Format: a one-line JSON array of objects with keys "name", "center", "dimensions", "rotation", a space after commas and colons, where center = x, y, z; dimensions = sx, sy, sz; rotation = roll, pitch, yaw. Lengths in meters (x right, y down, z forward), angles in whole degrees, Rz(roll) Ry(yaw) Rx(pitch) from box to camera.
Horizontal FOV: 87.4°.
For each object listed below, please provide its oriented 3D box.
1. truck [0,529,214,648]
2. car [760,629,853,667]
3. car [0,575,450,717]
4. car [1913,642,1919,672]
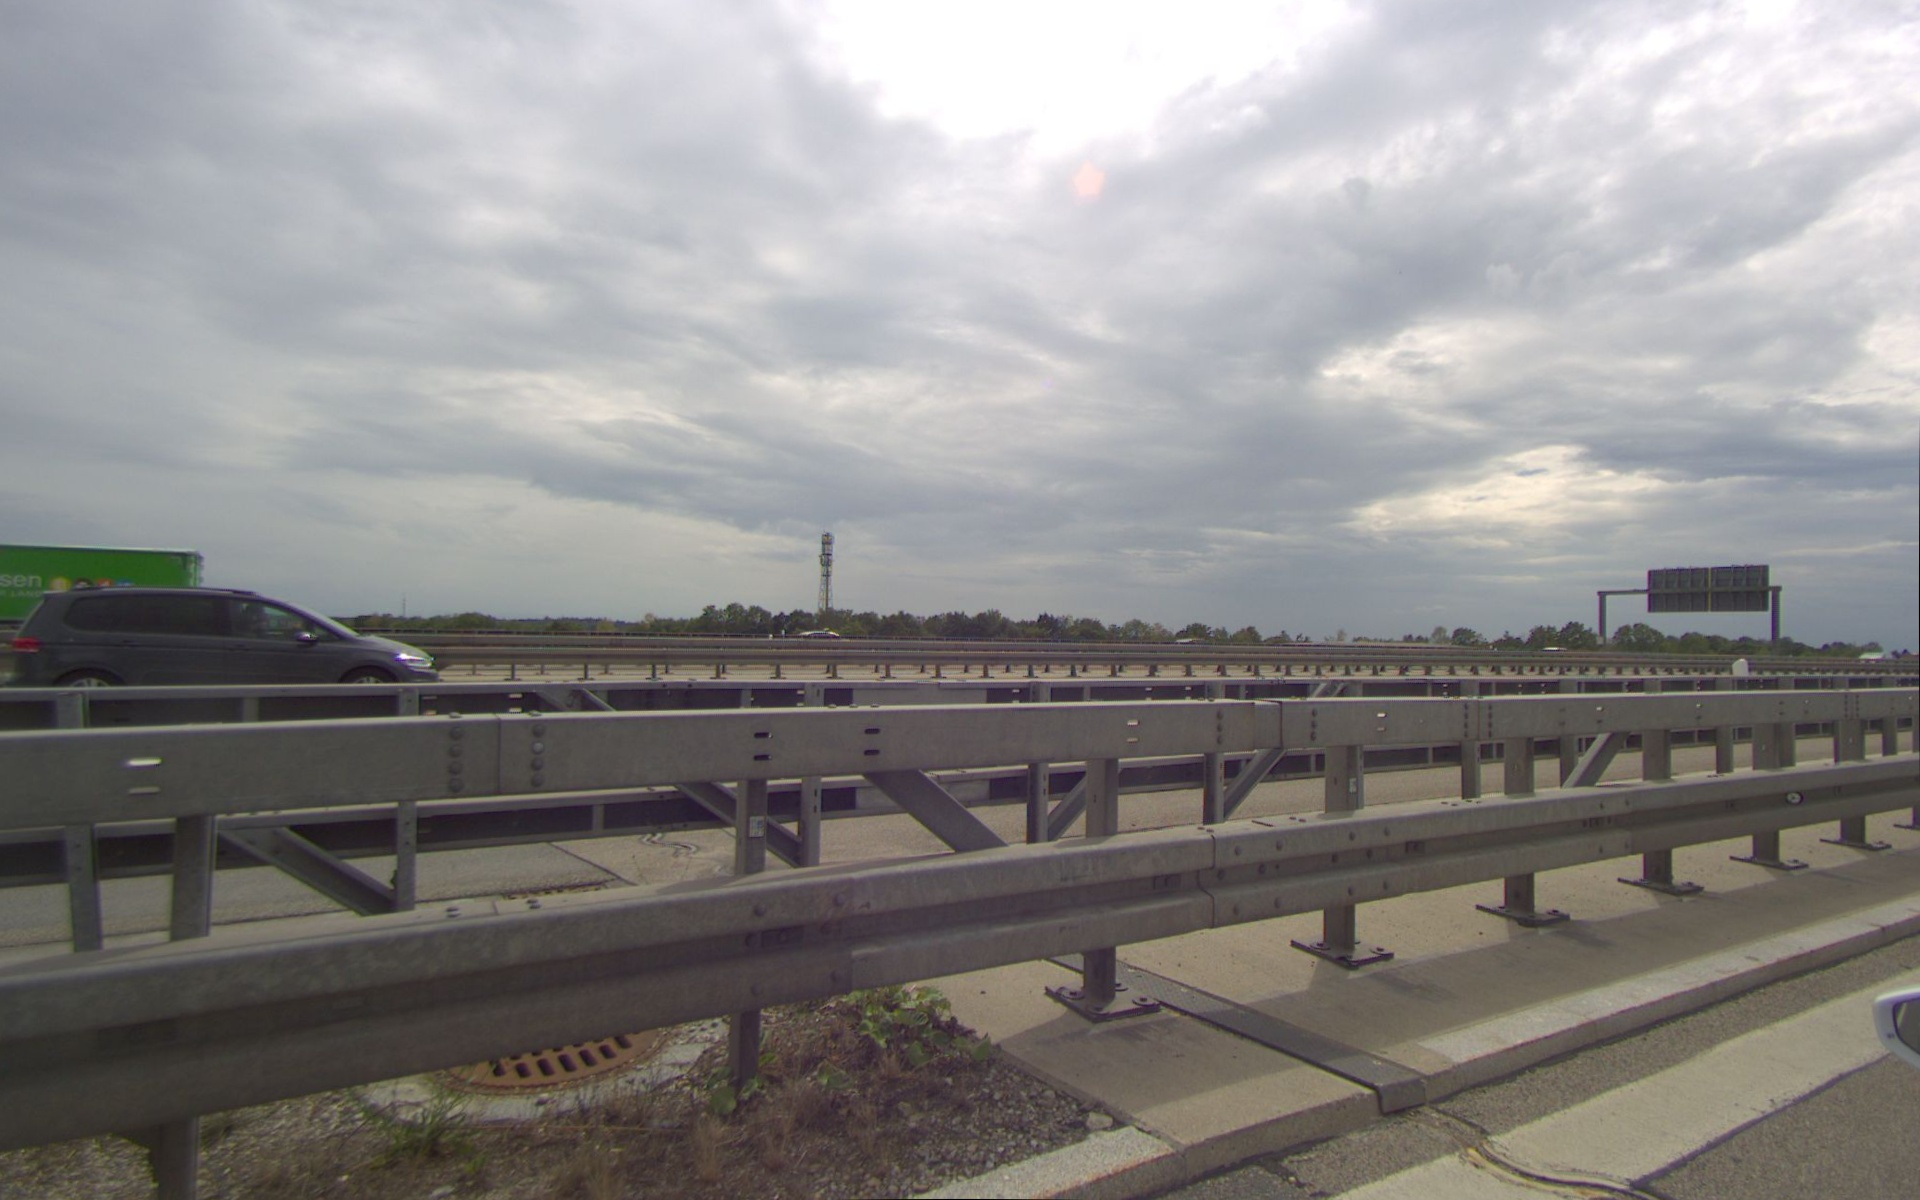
[{"name": "truck", "center": [-31.121, -0.407, 32.933], "dimensions": [10.317, 3.683, 2.998], "rotation": [2, 0, -31]}, {"name": "car", "center": [-7.238, 2.284, 47.452], "dimensions": [3.952, 1.650, 1.721], "rotation": [2, -1, -30]}, {"name": "car", "center": [-9.234, 0.571, 13.009], "dimensions": [4.562, 1.567, 1.871], "rotation": [2, 0, -31]}, {"name": "car", "center": [48.657, 2.860, 49.163], "dimensions": [3.951, 1.438, 1.790], "rotation": [2, 0, -29]}]
